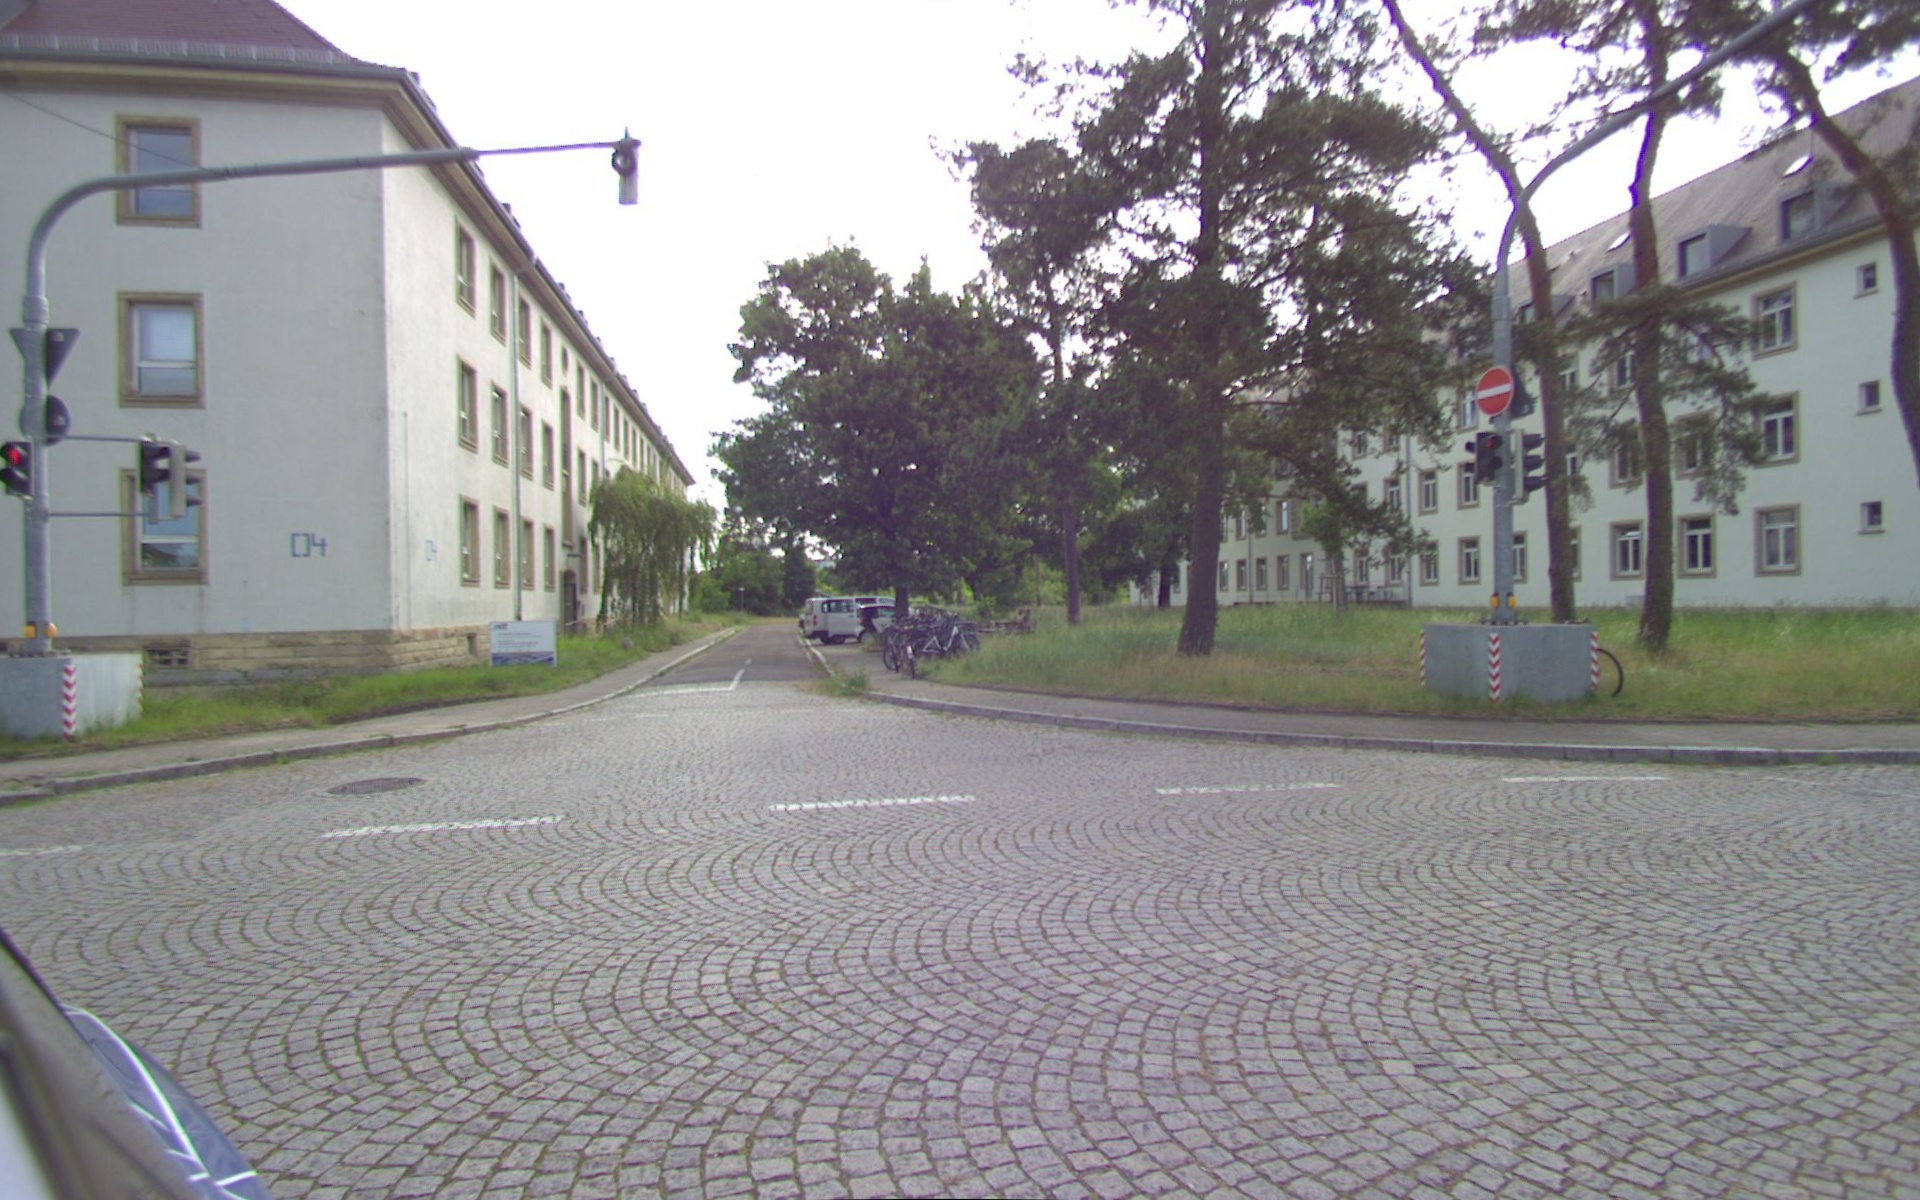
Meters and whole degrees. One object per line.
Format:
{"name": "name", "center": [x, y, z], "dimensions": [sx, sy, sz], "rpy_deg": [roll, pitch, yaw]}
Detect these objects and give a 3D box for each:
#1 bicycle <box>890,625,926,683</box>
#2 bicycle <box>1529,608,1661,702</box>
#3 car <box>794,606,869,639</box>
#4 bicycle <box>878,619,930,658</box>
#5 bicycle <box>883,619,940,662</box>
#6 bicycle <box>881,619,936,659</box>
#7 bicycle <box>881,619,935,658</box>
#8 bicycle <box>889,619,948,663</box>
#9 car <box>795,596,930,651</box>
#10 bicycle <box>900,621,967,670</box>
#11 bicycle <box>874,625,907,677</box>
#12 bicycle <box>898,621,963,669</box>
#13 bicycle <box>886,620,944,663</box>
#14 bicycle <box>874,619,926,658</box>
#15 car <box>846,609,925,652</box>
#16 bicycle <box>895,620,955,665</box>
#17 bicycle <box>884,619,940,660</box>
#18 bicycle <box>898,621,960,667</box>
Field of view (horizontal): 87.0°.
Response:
{"name": "bicycle", "center": [-1.069, 1.085, 20.687], "dimensions": [0.490, 1.082, 1.420], "rpy_deg": [-3, 0, -11]}
{"name": "bicycle", "center": [7.954, 0.659, 12.734], "dimensions": [0.489, 1.082, 1.420], "rpy_deg": [-3, 0, -13]}
{"name": "car", "center": [-7.442, 1.270, 58.670], "dimensions": [4.022, 1.780, 1.836], "rpy_deg": [-1, 1, -18]}
{"name": "bicycle", "center": [-1.661, 1.132, 29.970], "dimensions": [1.433, 1.046, 0.499], "rpy_deg": [-4, 0, -15]}
{"name": "bicycle", "center": [-1.345, 1.108, 27.817], "dimensions": [1.433, 1.046, 0.499], "rpy_deg": [-4, 0, -15]}
{"name": "bicycle", "center": [-1.485, 1.109, 28.934], "dimensions": [1.433, 1.046, 0.499], "rpy_deg": [-4, 0, -15]}
{"name": "bicycle", "center": [-1.521, 1.114, 29.464], "dimensions": [1.433, 1.046, 0.499], "rpy_deg": [-4, 0, -15]}
{"name": "bicycle", "center": [-1.100, 1.082, 26.883], "dimensions": [1.433, 1.046, 0.499], "rpy_deg": [-4, 0, -15]}
{"name": "car", "center": [-4.002, 0.959, 41.645], "dimensions": [5.082, 1.931, 2.042], "rpy_deg": [-3, 0, -23]}
{"name": "bicycle", "center": [-0.633, 1.060, 23.805], "dimensions": [1.432, 1.046, 0.499], "rpy_deg": [-4, 0, -17]}
{"name": "bicycle", "center": [-1.538, 1.100, 22.239], "dimensions": [0.490, 1.046, 1.420], "rpy_deg": [-3, 0, -11]}
{"name": "bicycle", "center": [-0.715, 1.080, 24.599], "dimensions": [1.433, 1.046, 0.499], "rpy_deg": [-4, 0, -15]}
{"name": "bicycle", "center": [-1.215, 1.115, 27.339], "dimensions": [1.433, 1.046, 0.499], "rpy_deg": [-4, 0, -15]}
{"name": "bicycle", "center": [-1.799, 1.141, 30.429], "dimensions": [1.433, 1.046, 0.499], "rpy_deg": [-4, 0, -15]}
{"name": "car", "center": [-2.846, 1.144, 38.443], "dimensions": [2.728, 1.426, 1.595], "rpy_deg": [-3, 0, -11]}
{"name": "bicycle", "center": [-0.909, 1.091, 26.212], "dimensions": [1.433, 1.046, 0.499], "rpy_deg": [-4, 0, -15]}
{"name": "bicycle", "center": [-1.357, 1.110, 28.458], "dimensions": [1.433, 1.046, 0.499], "rpy_deg": [-4, 0, -15]}
{"name": "bicycle", "center": [-0.776, 1.093, 25.641], "dimensions": [1.433, 1.046, 0.499], "rpy_deg": [-4, 0, -15]}
